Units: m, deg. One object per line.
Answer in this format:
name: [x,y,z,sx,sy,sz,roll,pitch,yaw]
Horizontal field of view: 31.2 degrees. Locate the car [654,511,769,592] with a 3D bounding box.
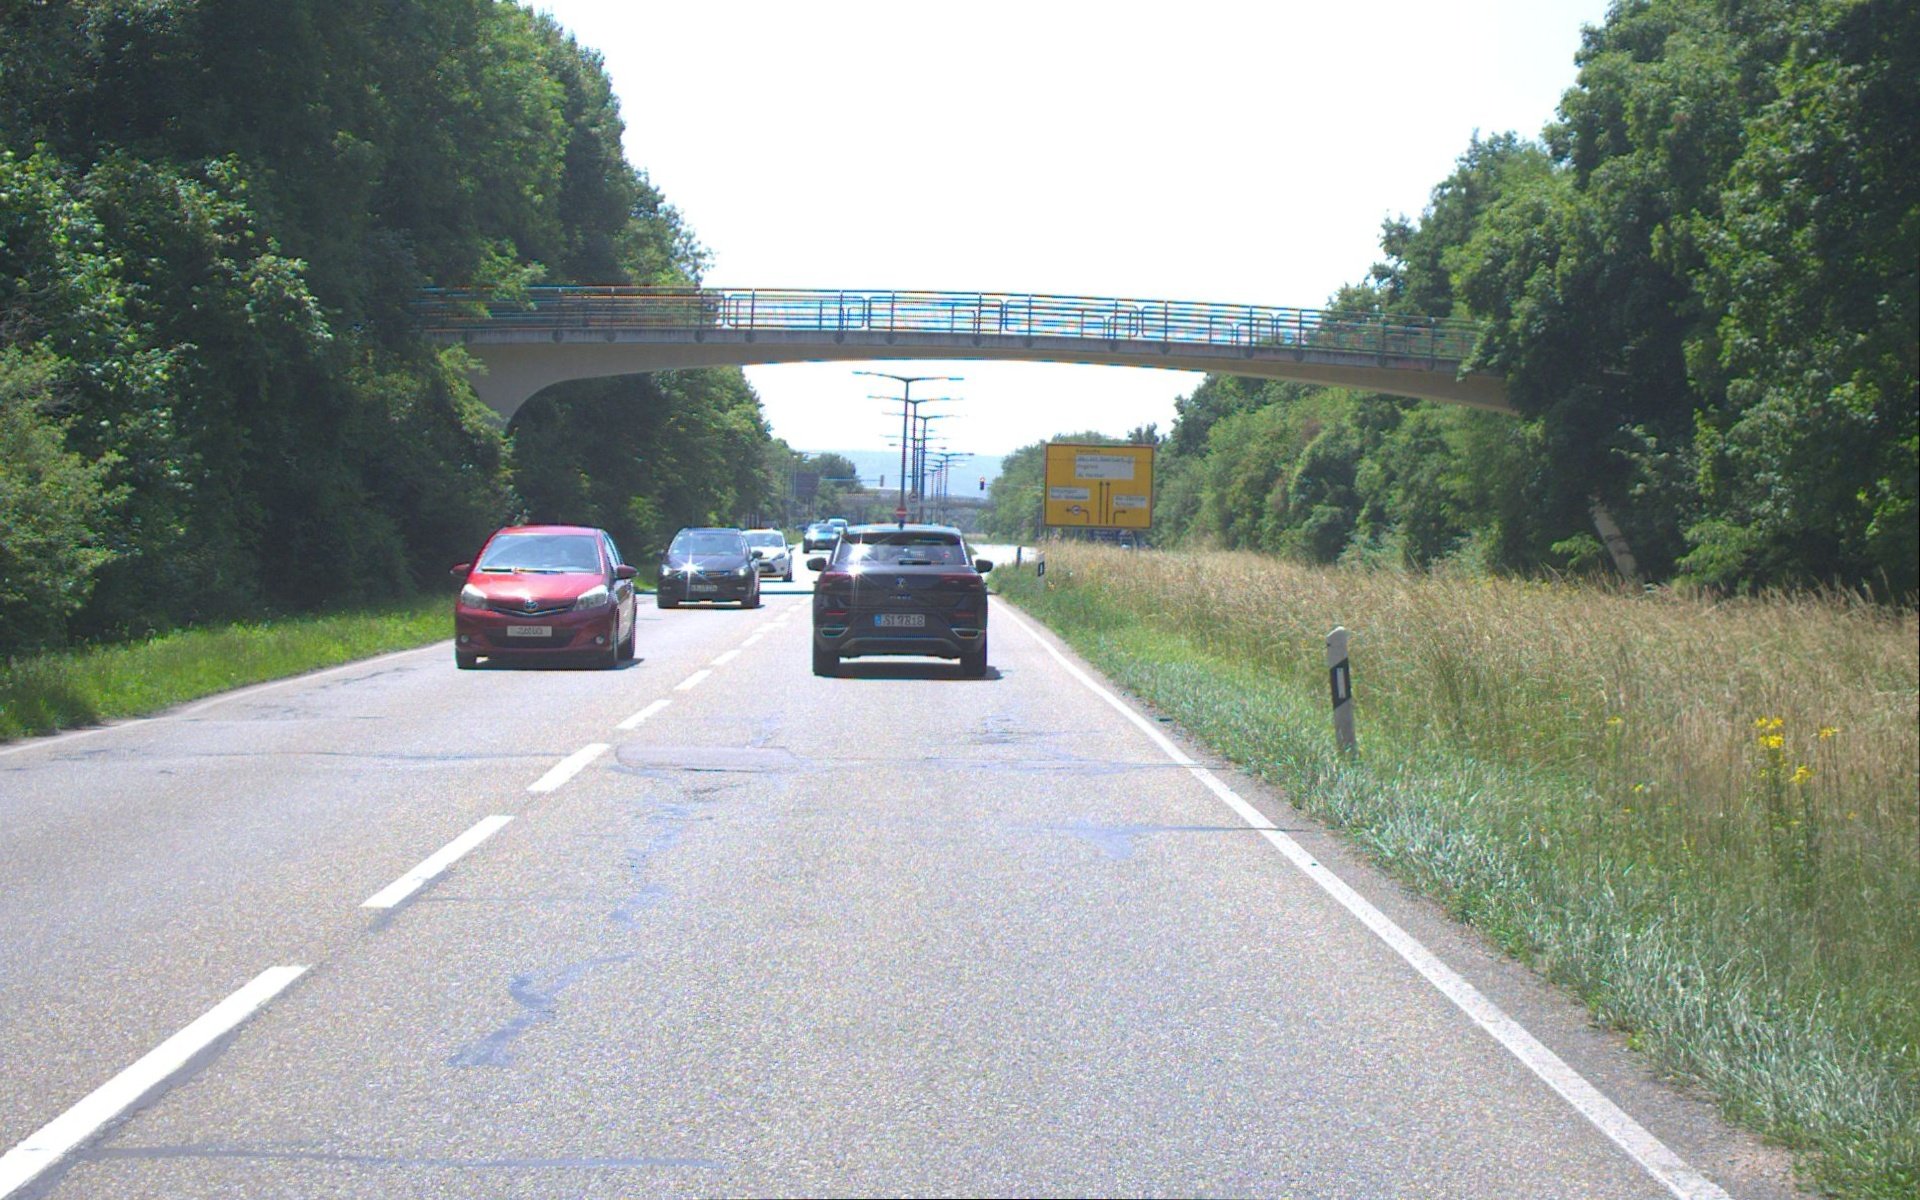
car: [-4.598,-0.917,64.158,1.784,1.444,4.109,1,1,1]

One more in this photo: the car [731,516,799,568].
car: [-5.482,-1.642,96.982,1.677,1.428,3.772,0,1,0]

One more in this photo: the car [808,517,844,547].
car: [-7.354,-3.737,188.466,1.823,1.584,4.420,0,1,-1]

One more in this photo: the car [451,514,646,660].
car: [-4.403,-0.182,37.243,1.682,1.488,4.000,0,1,-1]

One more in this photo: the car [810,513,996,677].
car: [-0.541,-0.078,35.863,1.755,1.550,4.000,2,1,1]
